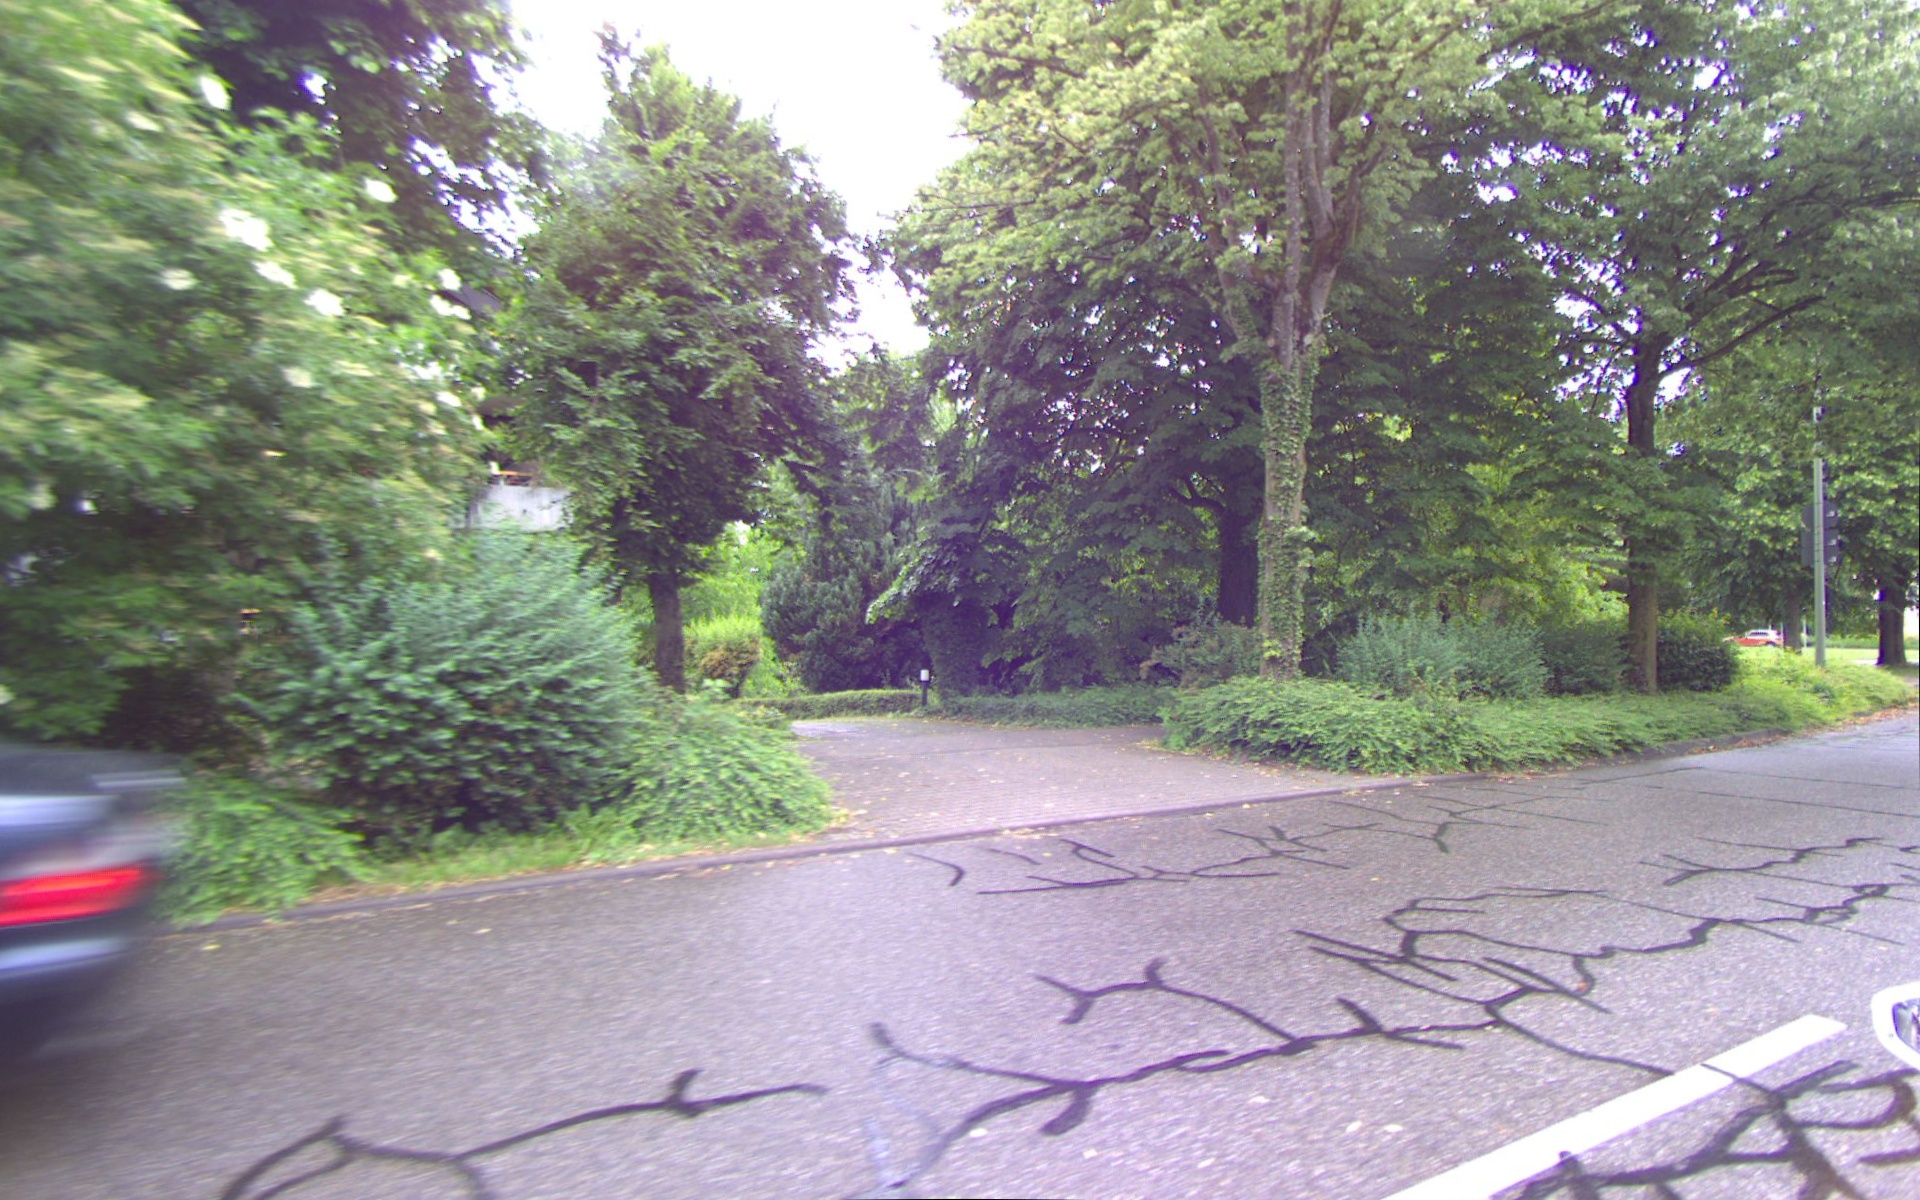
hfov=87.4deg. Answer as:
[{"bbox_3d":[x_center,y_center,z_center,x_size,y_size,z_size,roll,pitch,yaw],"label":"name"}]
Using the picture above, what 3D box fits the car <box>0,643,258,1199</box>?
[{"bbox_3d":[-4.339,0.771,2.288,4.328,1.366,1.756,2,-3,-31],"label":"car"}]
